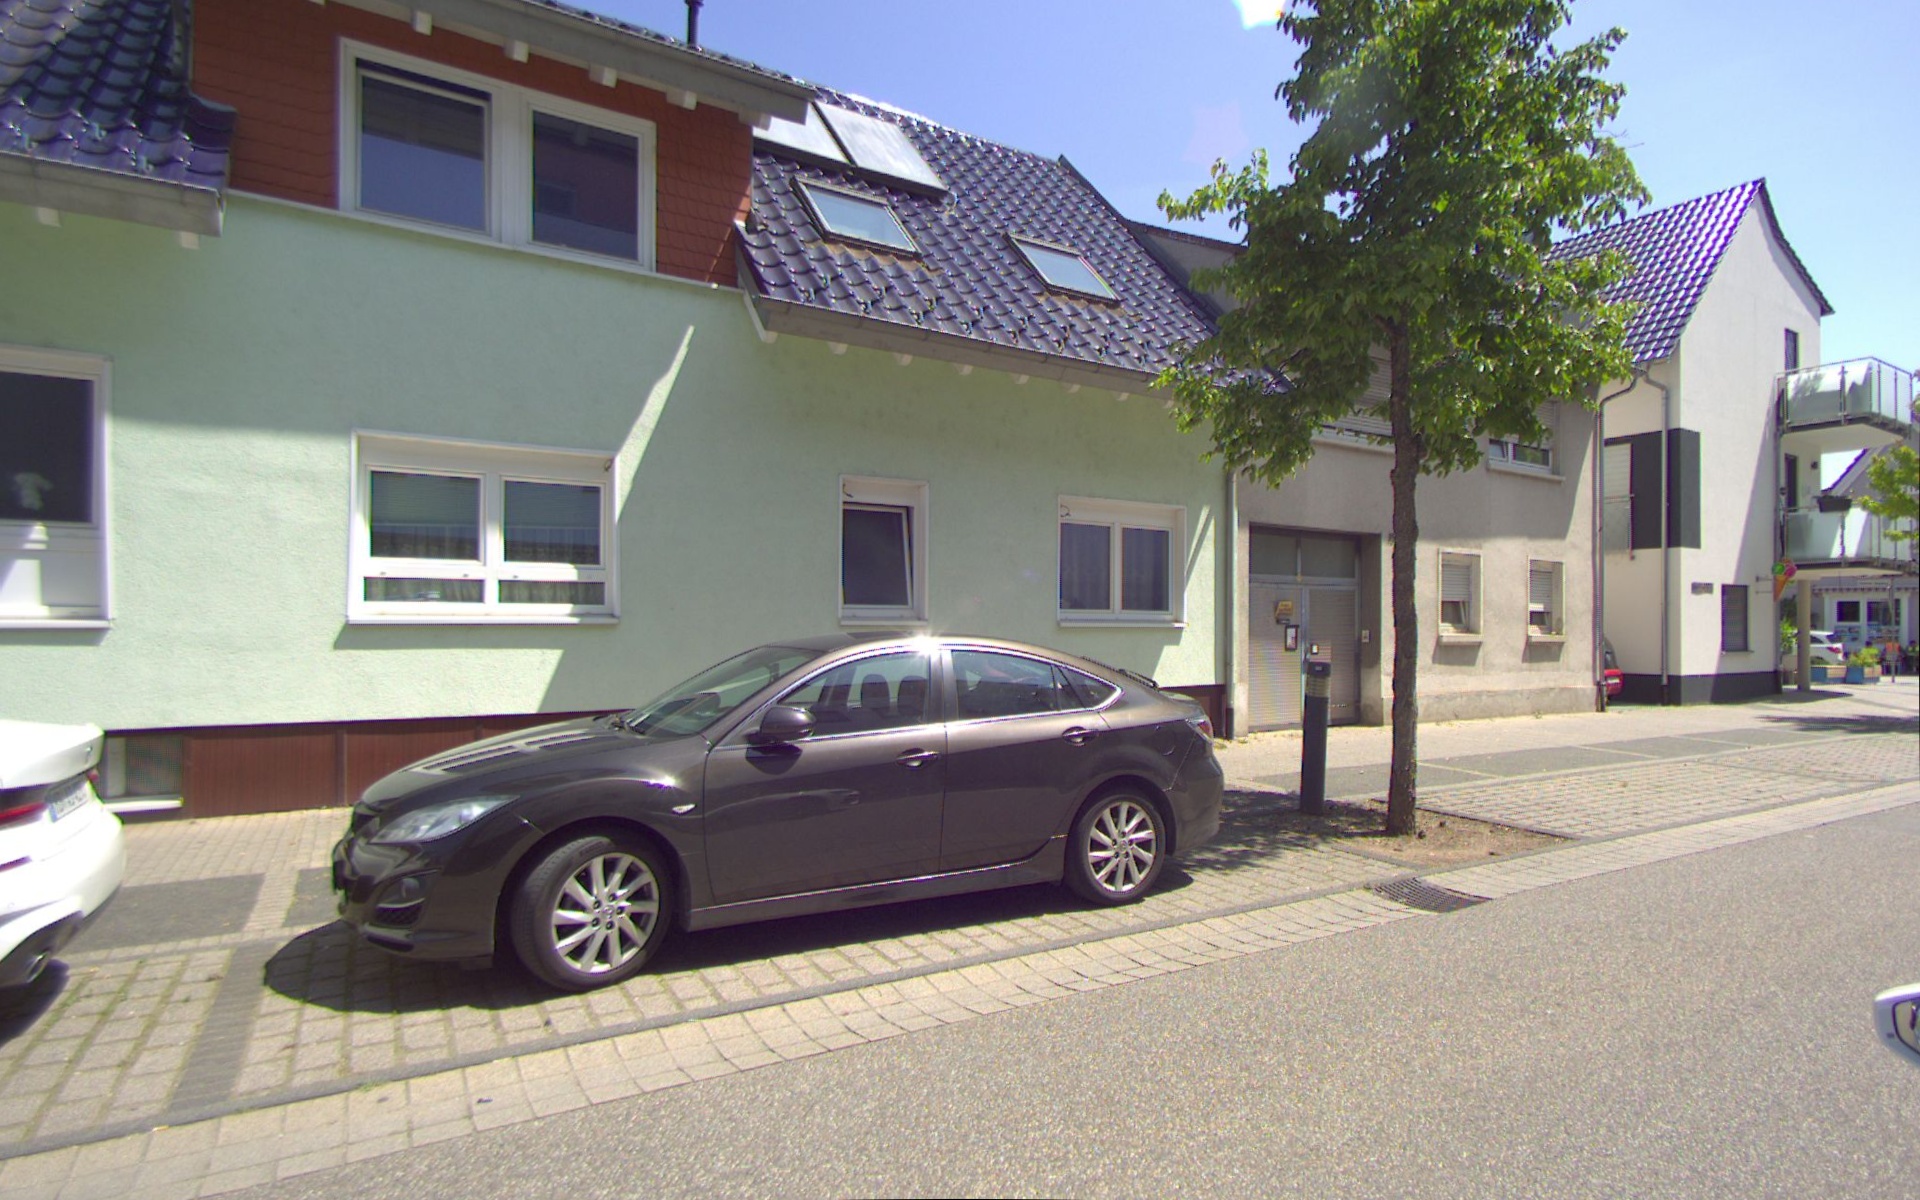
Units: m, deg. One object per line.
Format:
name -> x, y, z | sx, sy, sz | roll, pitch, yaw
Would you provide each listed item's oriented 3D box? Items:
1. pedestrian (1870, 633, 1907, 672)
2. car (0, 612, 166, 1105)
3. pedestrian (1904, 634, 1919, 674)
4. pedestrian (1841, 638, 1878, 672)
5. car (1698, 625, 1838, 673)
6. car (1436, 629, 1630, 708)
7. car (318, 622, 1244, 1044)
pedestrian -> 32.533, 1.829, 35.212 | 0.623, 1.306, 0.789 | 2, 1, 16
car -> -5.076, 0.742, 2.676 | 4.408, 1.456, 1.711 | 1, -1, -31
pedestrian -> 32.766, 1.850, 34.146 | 0.623, 1.306, 0.789 | 2, 1, 16
pedestrian -> 31.695, 1.921, 35.400 | 0.623, 1.131, 0.789 | 2, 1, 16
car -> 29.135, 1.724, 36.277 | 3.873, 1.566, 1.509 | -1, 0, 43
car -> 11.628, 1.335, 20.509 | 1.572, 1.462, 3.093 | 1, -2, -36
car -> -0.700, 0.868, 5.358 | 4.486, 1.456, 1.652 | 1, -1, -31
